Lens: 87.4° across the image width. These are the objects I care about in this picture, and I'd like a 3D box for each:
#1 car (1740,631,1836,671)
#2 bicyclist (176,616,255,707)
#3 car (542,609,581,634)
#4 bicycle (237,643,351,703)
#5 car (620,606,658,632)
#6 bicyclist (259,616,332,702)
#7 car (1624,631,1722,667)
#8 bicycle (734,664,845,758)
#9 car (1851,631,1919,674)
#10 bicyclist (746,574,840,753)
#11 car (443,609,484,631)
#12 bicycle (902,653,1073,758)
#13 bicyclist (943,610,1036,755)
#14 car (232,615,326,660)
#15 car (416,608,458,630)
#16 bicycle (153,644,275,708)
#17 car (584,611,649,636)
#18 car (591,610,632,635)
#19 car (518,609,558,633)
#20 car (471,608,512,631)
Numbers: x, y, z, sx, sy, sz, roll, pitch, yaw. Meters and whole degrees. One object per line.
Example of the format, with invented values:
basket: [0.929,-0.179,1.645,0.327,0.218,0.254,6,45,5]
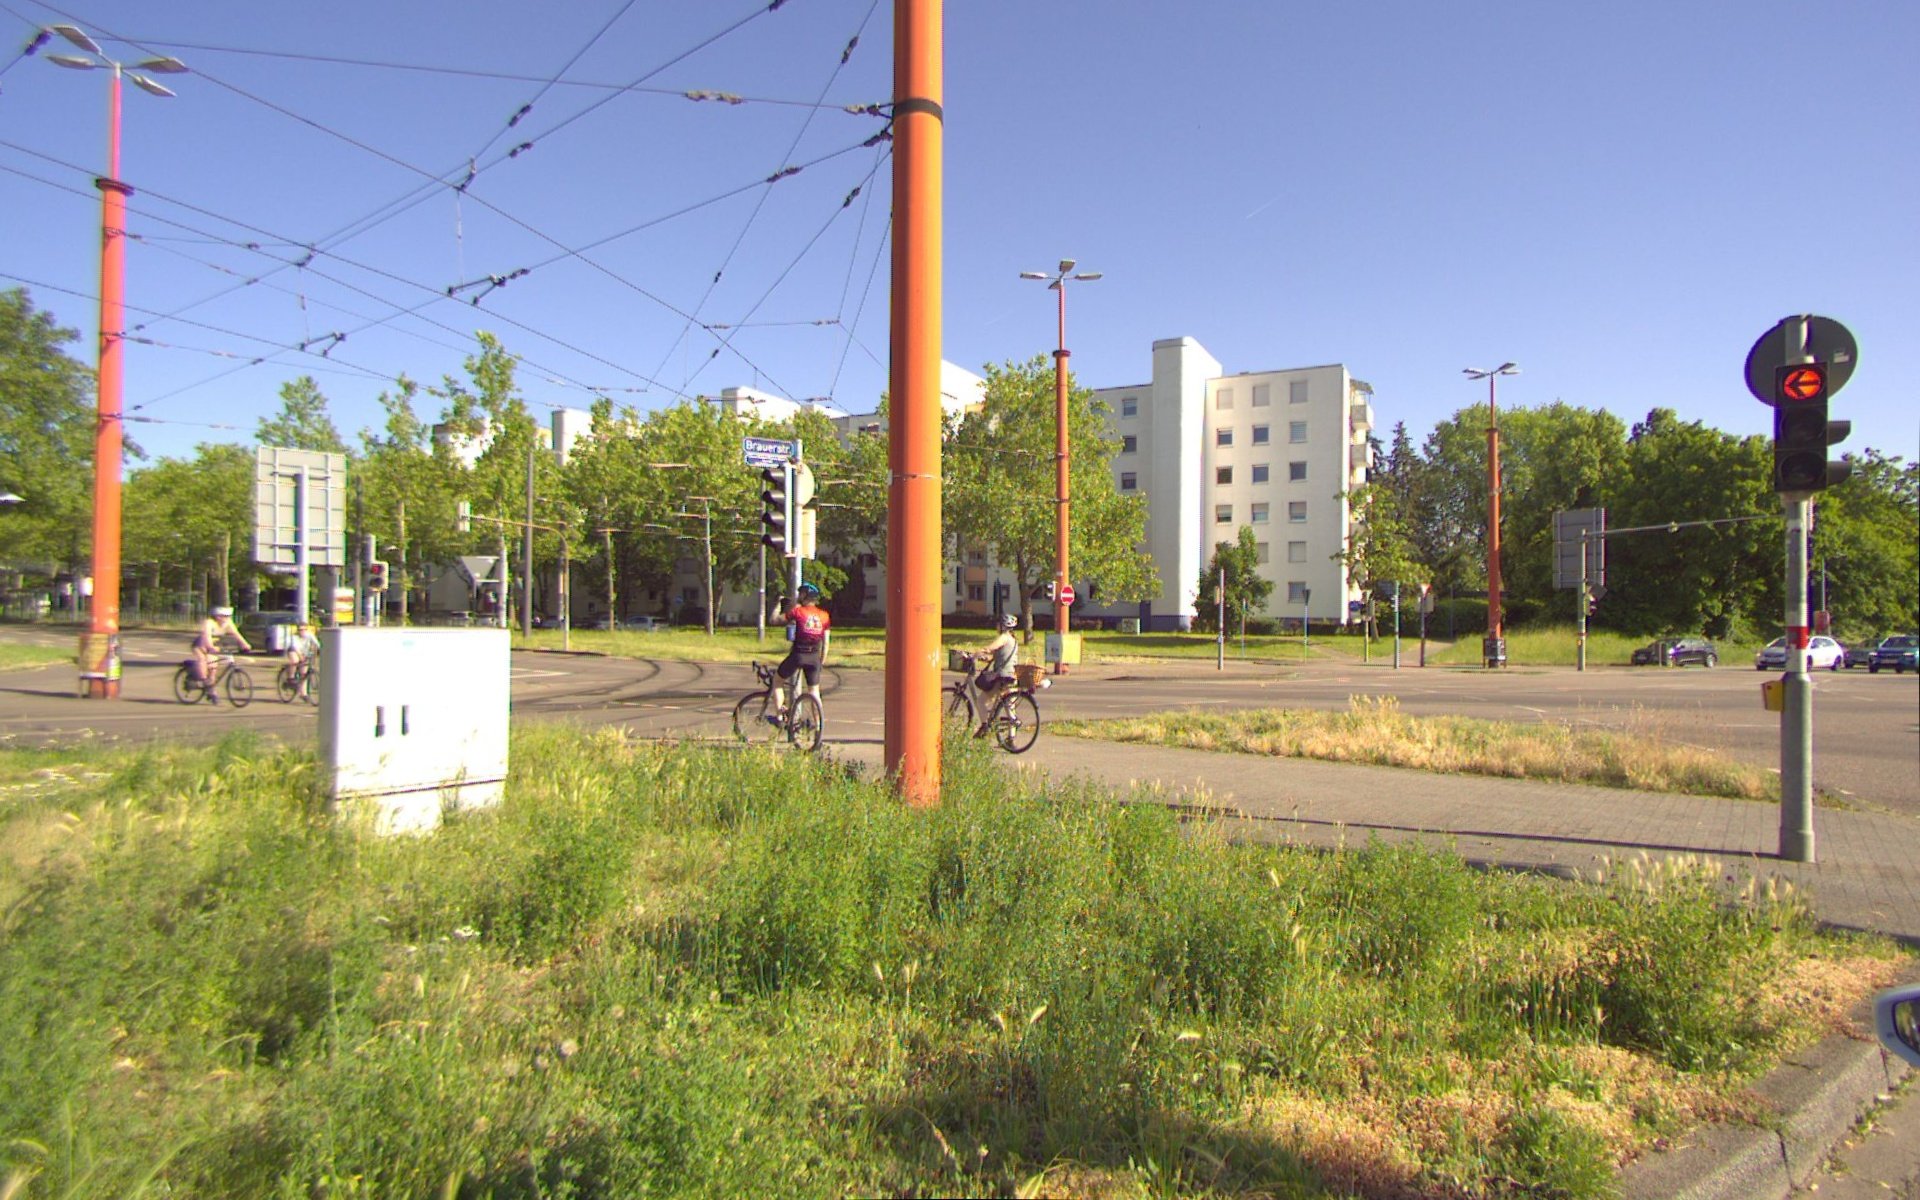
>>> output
car: [35.149,2.150,42.610,4.075,1.594,1.983,1,-1,-32]
bicyclist: [-13.998,1.130,18.903,0.726,1.659,0.934,0,-1,18]
car: [-31.186,1.675,78.685,1.963,1.840,3.995,1,-1,-8]
bicycle: [-13.247,1.439,19.986,1.849,1.102,0.928,0,-1,18]
car: [-23.397,1.398,73.423,1.963,1.840,3.995,1,-1,-8]
bicyclist: [-13.207,1.159,19.974,0.726,1.659,0.934,0,-1,18]
car: [34.527,2.353,48.628,4.161,1.619,1.989,1,-1,-23]
bicycle: [-2.111,1.304,12.241,0.915,0.976,1.747,1,-1,-24]
car: [37.273,2.038,39.869,4.079,1.594,1.981,2,-1,-35]
bicyclist: [-2.002,0.743,12.011,0.921,2.040,0.736,1,-1,-25]
car: [-42.667,1.699,86.455,1.963,1.840,3.995,1,-1,-8]
bicycle: [0.319,1.223,12.126,1.855,1.102,0.925,0,-1,34]
bicyclist: [0.363,0.954,12.103,0.728,1.659,0.931,0,-1,35]
car: [-25.957,1.393,38.271,3.848,1.615,1.935,0,-2,39]
car: [-46.016,1.675,88.483,1.963,1.840,3.995,1,-1,-8]
bicycle: [-14.024,1.409,18.901,1.849,1.102,0.928,0,-1,18]
car: [-21.018,1.433,61.438,4.156,1.471,1.792,0,-2,39]
car: [-26.103,1.686,75.335,1.962,1.840,3.997,1,-1,-5]
car: [-33.802,1.670,80.535,1.963,1.840,3.995,1,-1,-8]
car: [-39.277,1.641,84.333,1.963,1.840,3.995,1,-1,-8]
